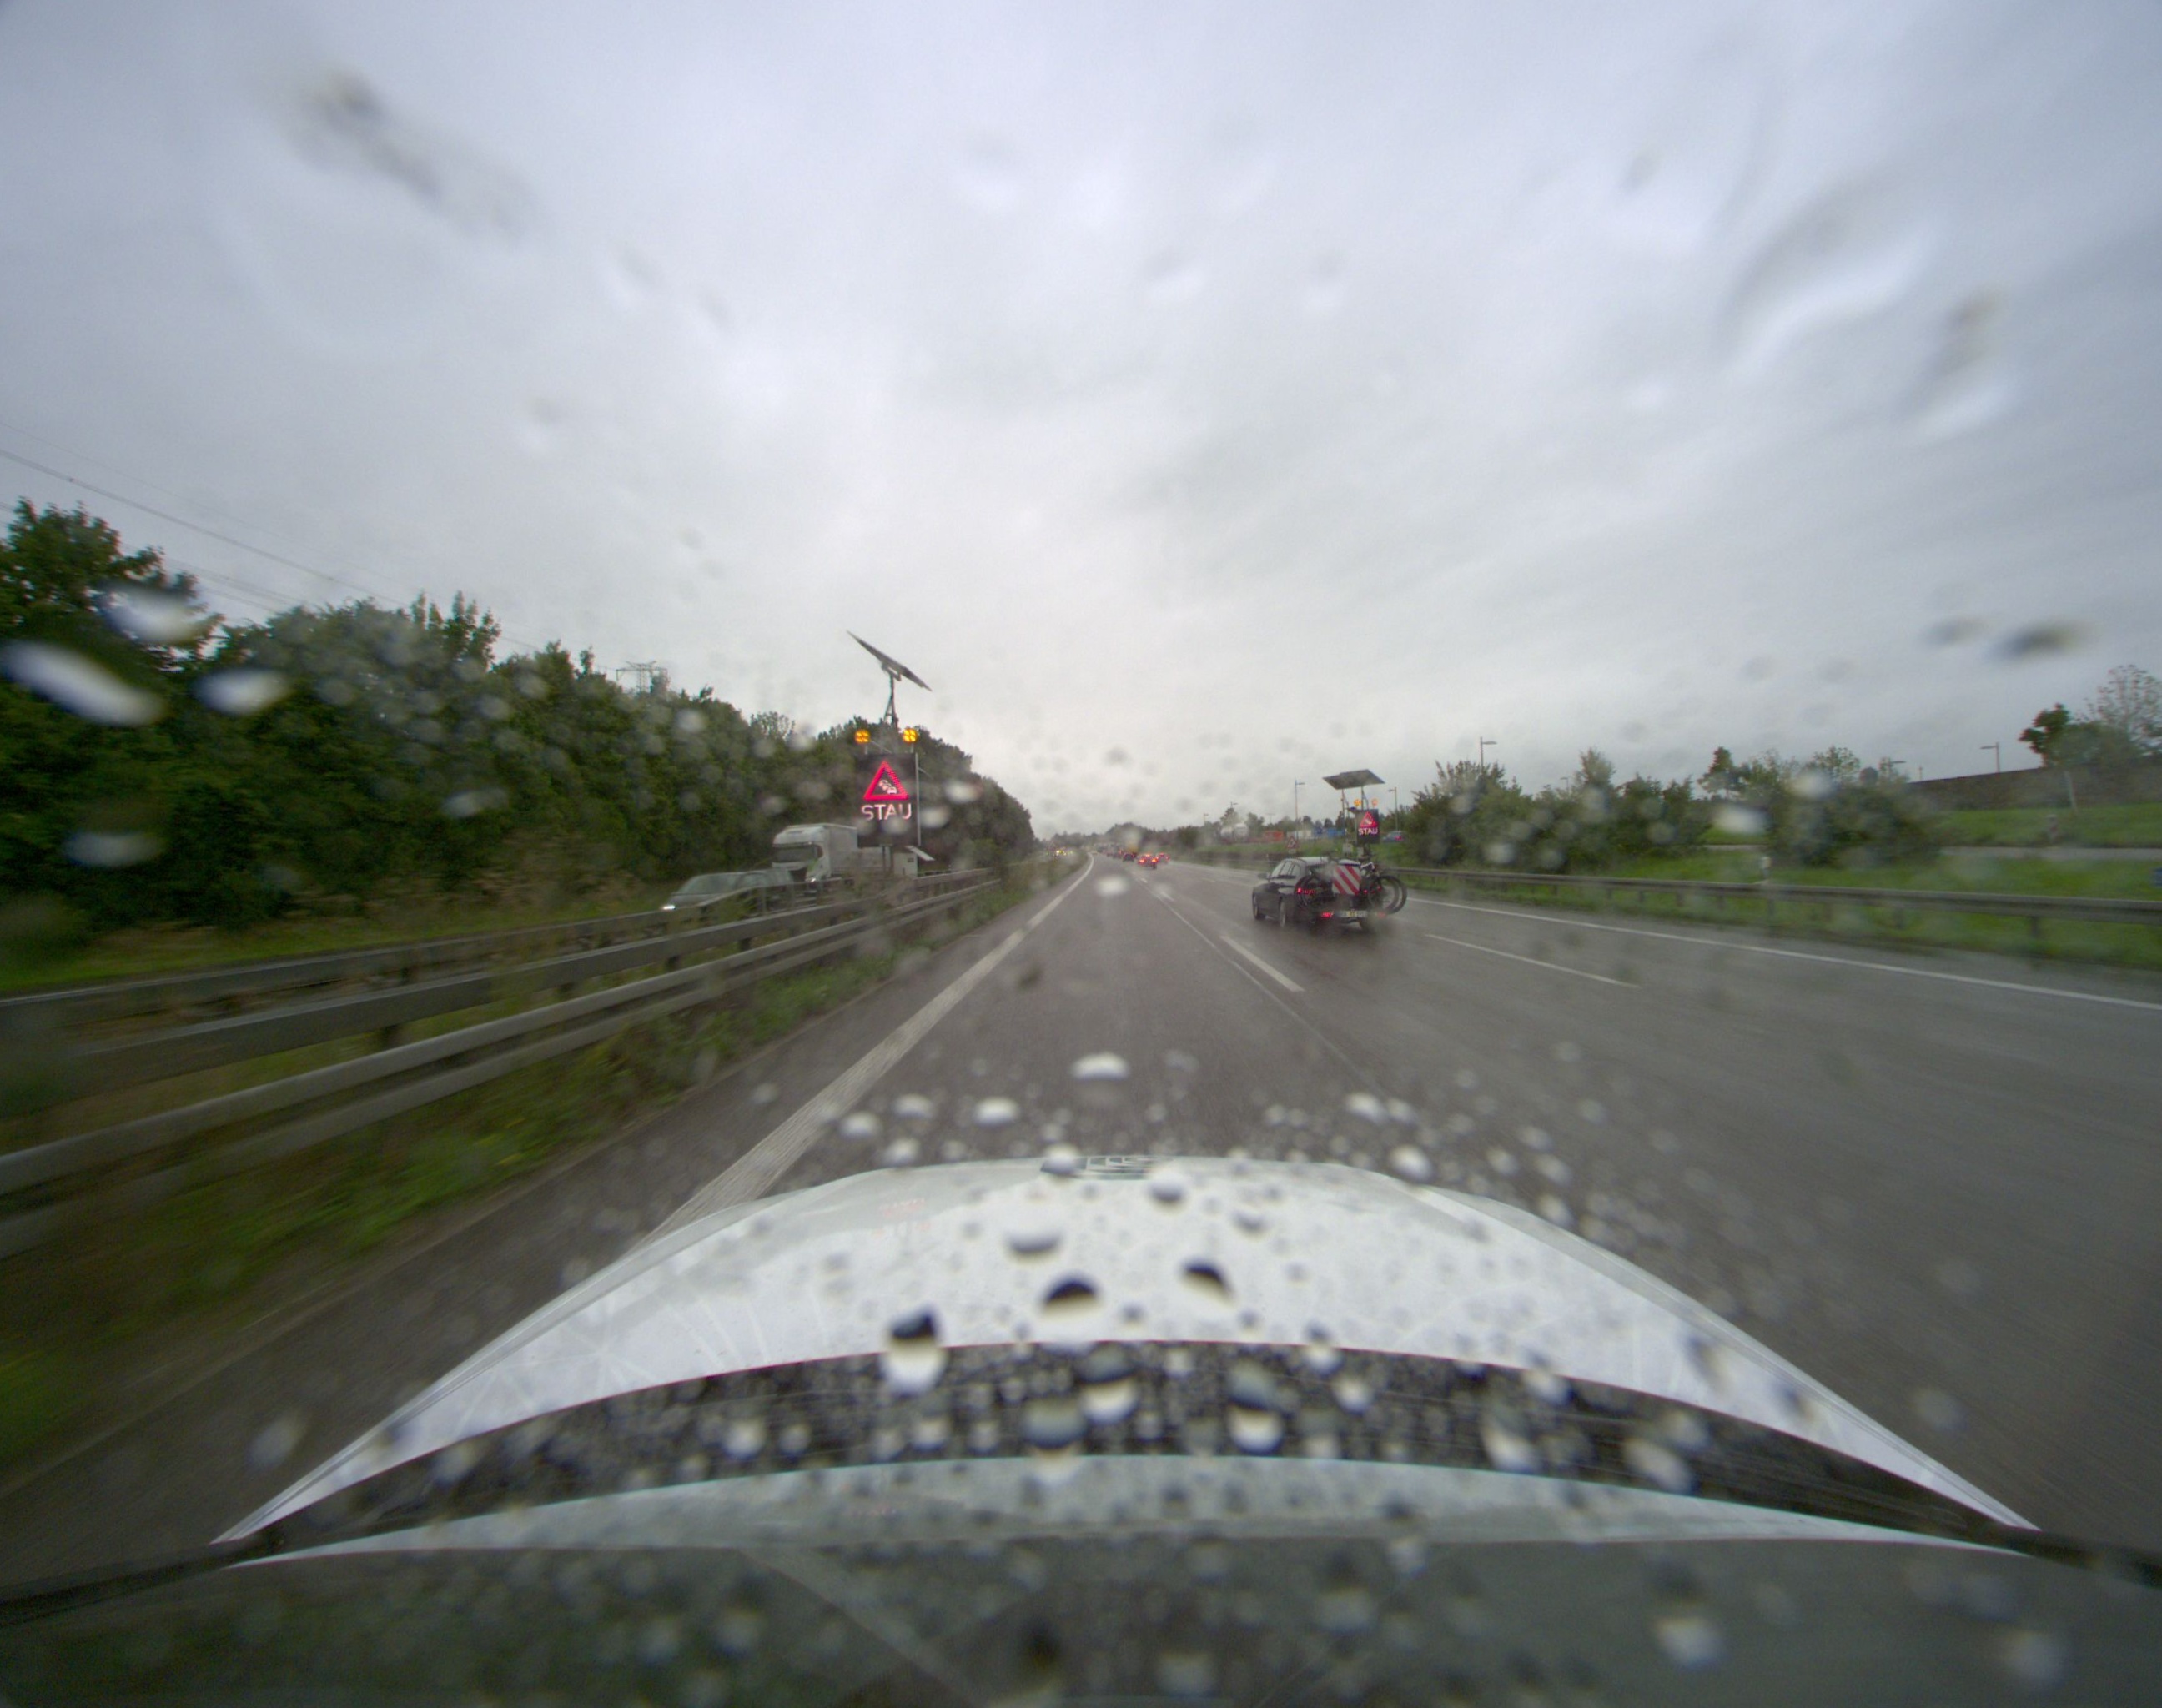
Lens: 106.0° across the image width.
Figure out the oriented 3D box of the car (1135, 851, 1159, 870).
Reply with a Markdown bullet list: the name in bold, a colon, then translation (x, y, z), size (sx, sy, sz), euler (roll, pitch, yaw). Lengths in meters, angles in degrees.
- **car**: translation (6.458, 0.587, 80.077), size (1.986, 1.761, 4.001), euler (-2, 0, 1)

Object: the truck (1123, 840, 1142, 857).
- **truck**: translation (12.653, -1.324, 200.666), size (3.910, 3.981, 12.243), euler (-2, 0, 1)

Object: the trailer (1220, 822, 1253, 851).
- **trailer**: translation (24.702, -2.668, 130.200), size (2.974, 4.156, 12.960), euler (-2, 0, 1)

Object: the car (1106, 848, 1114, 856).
- **car**: translation (8.250, -0.627, 231.318), size (1.986, 2.205, 4.001), euler (-2, 0, 1)

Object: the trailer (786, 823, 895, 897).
- **trailer**: translation (-15.634, 0.342, 54.529), size (2.633, 4.237, 13.917), euler (-2, 0, 2)

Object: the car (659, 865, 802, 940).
- **car**: translation (-8.535, 1.114, 20.209), size (1.658, 1.542, 4.001), euler (-2, 0, 2)

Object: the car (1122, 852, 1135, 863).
- **car**: translation (7.822, 0.559, 135.664), size (1.986, 1.628, 4.001), euler (-2, 0, 1)

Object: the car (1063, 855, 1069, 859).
- **car**: translation (-4.760, 0.922, 256.721), size (1.672, 1.397, 4.001), euler (-2, 0, 1)

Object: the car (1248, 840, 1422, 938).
- **car**: translation (4.944, 0.655, 16.819), size (2.050, 1.671, 5.524), euler (-1, -1, 2)

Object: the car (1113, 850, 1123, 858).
- **car**: translation (7.978, 0.089, 175.868), size (1.986, 1.628, 4.001), euler (-2, 0, 1)

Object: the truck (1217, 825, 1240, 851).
- **truck**: translation (24.899, -2.646, 137.319), size (2.938, 4.145, 4.924), euler (-2, 0, 2)

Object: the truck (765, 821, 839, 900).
- **truck**: translation (-15.905, 0.343, 46.654), size (2.633, 4.237, 4.002), euler (-2, 0, 2)

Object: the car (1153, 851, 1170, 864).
- **car**: translation (11.066, 0.483, 111.906), size (1.986, 1.761, 4.001), euler (-2, 0, 1)

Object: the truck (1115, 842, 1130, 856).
- **truck**: translation (12.422, -1.386, 243.178), size (3.910, 3.981, 12.243), euler (-2, 0, 1)

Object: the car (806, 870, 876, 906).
- **car**: translation (-11.599, 1.621, 39.661), size (1.867, 1.493, 4.516), euler (-3, 0, 2)
